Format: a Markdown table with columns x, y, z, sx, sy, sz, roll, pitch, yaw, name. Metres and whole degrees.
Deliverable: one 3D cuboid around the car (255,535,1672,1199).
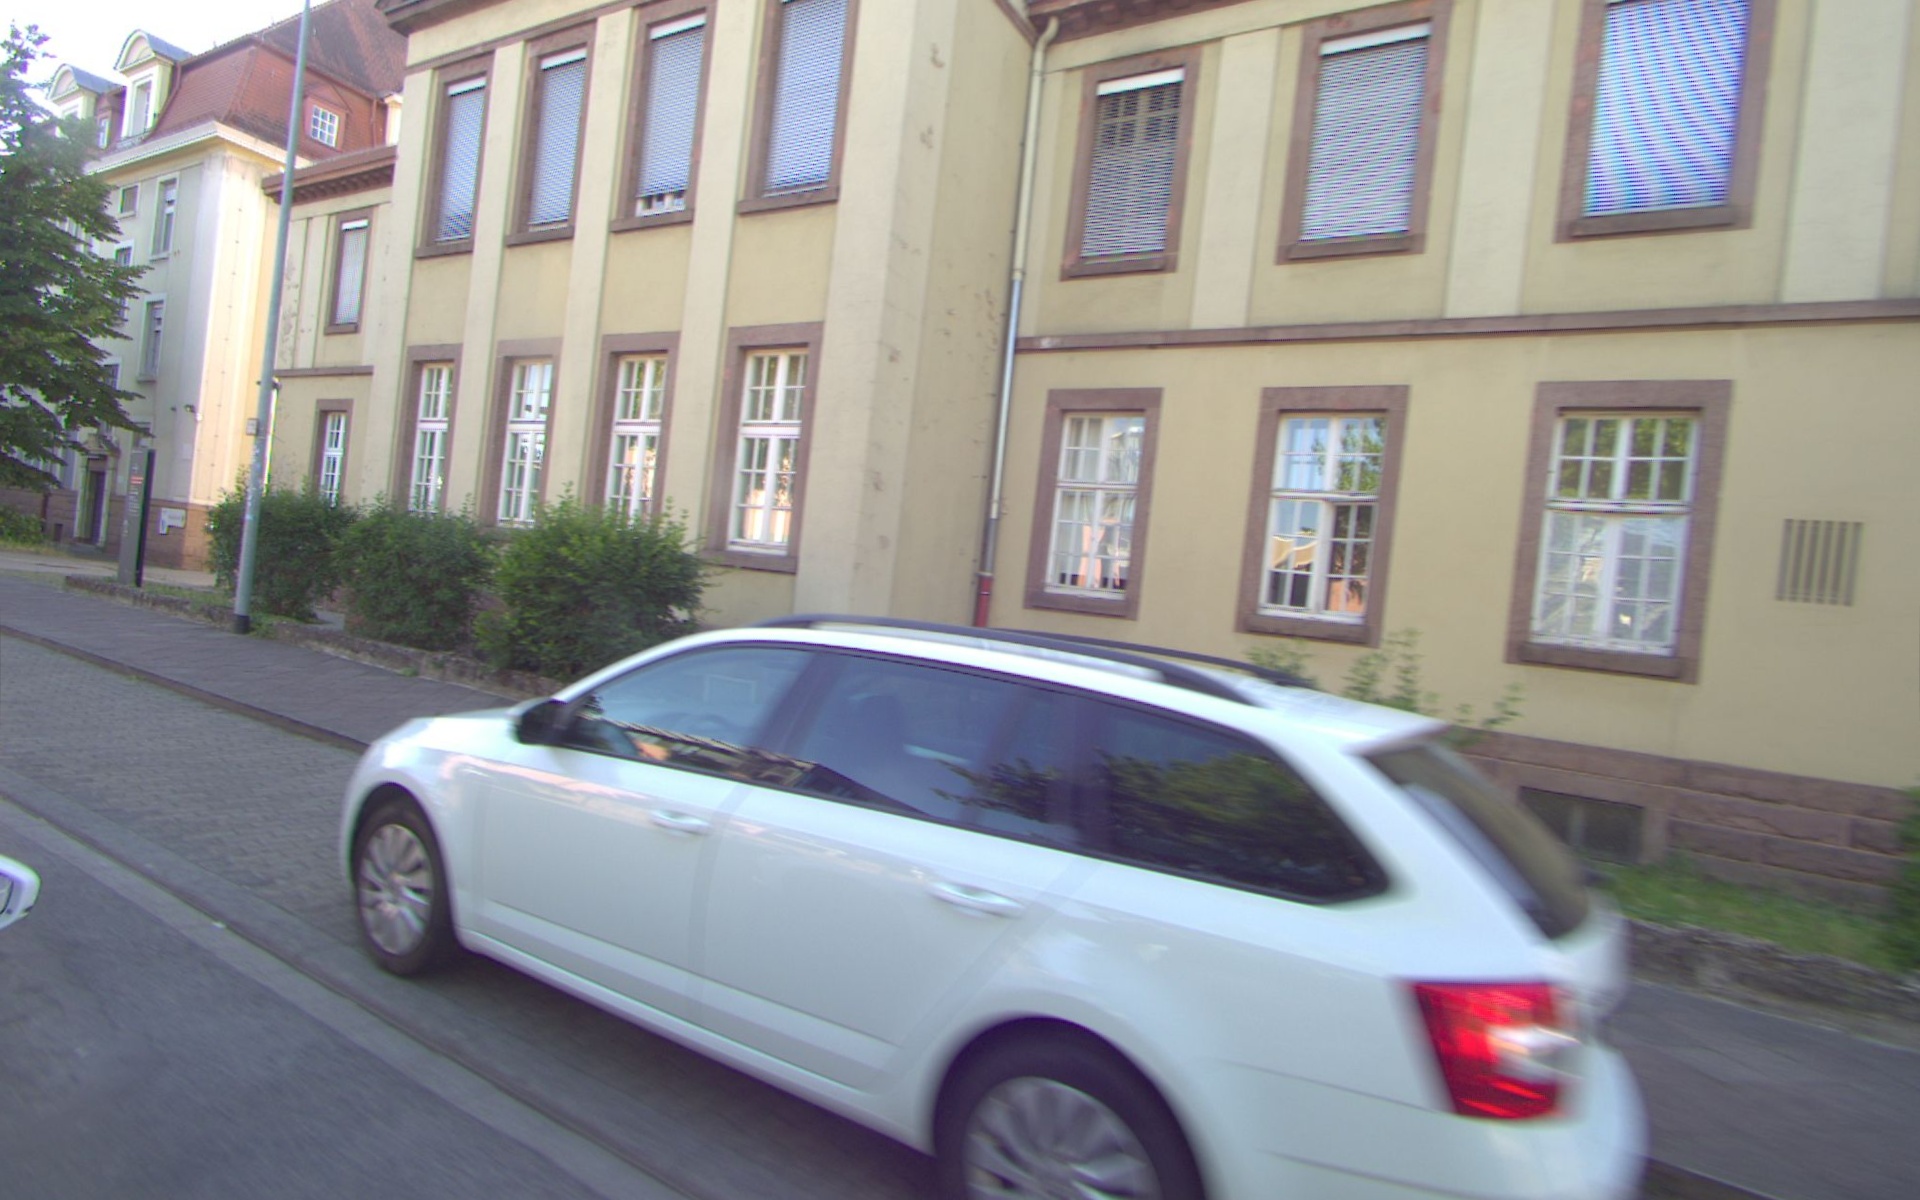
| x | y | z | sx | sy | sz | roll | pitch | yaw | name |
| --- | --- | --- | --- | --- | --- | --- | --- | --- | --- |
| -0.341 | 0.678 | 3.573 | 4.421 | 1.339 | 1.835 | 6 | 0 | 31 | car |
